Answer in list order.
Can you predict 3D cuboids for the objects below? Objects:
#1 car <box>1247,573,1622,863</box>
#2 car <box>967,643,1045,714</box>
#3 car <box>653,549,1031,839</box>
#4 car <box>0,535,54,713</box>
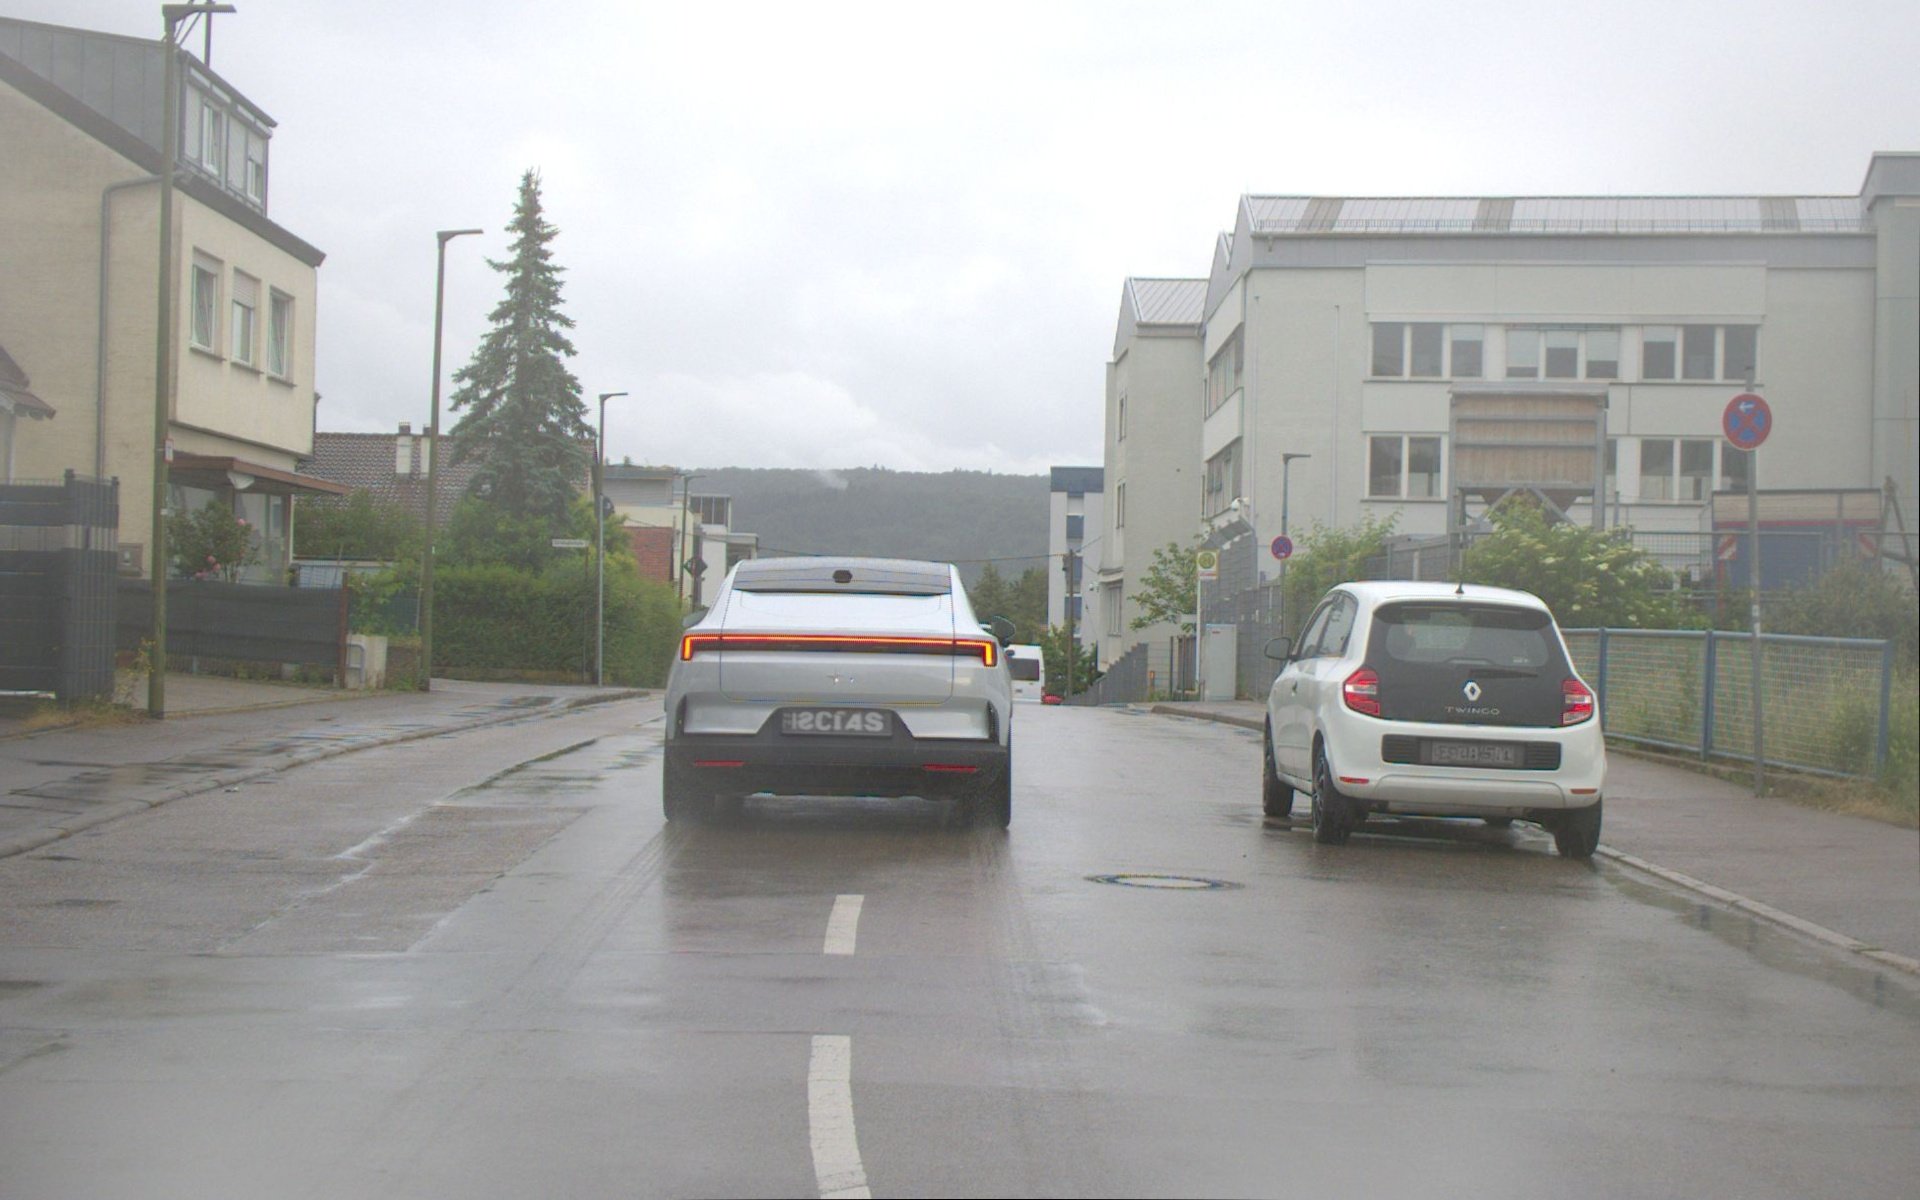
[{"bbox_3d":[2.829,0.652,21.232,1.681,1.552,3.674,3,0,-1],"label":"car"},{"bbox_3d":[1.355,2.365,102.412,1.993,2.007,4.000,1,-3,-4],"label":"car"},{"bbox_3d":[-0.733,0.472,20.865,1.993,1.497,4.670,2,1,-2],"label":"car"},{"bbox_3d":[-8.343,0.140,26.303,1.826,1.364,4.570,5,1,-4],"label":"car"}]
